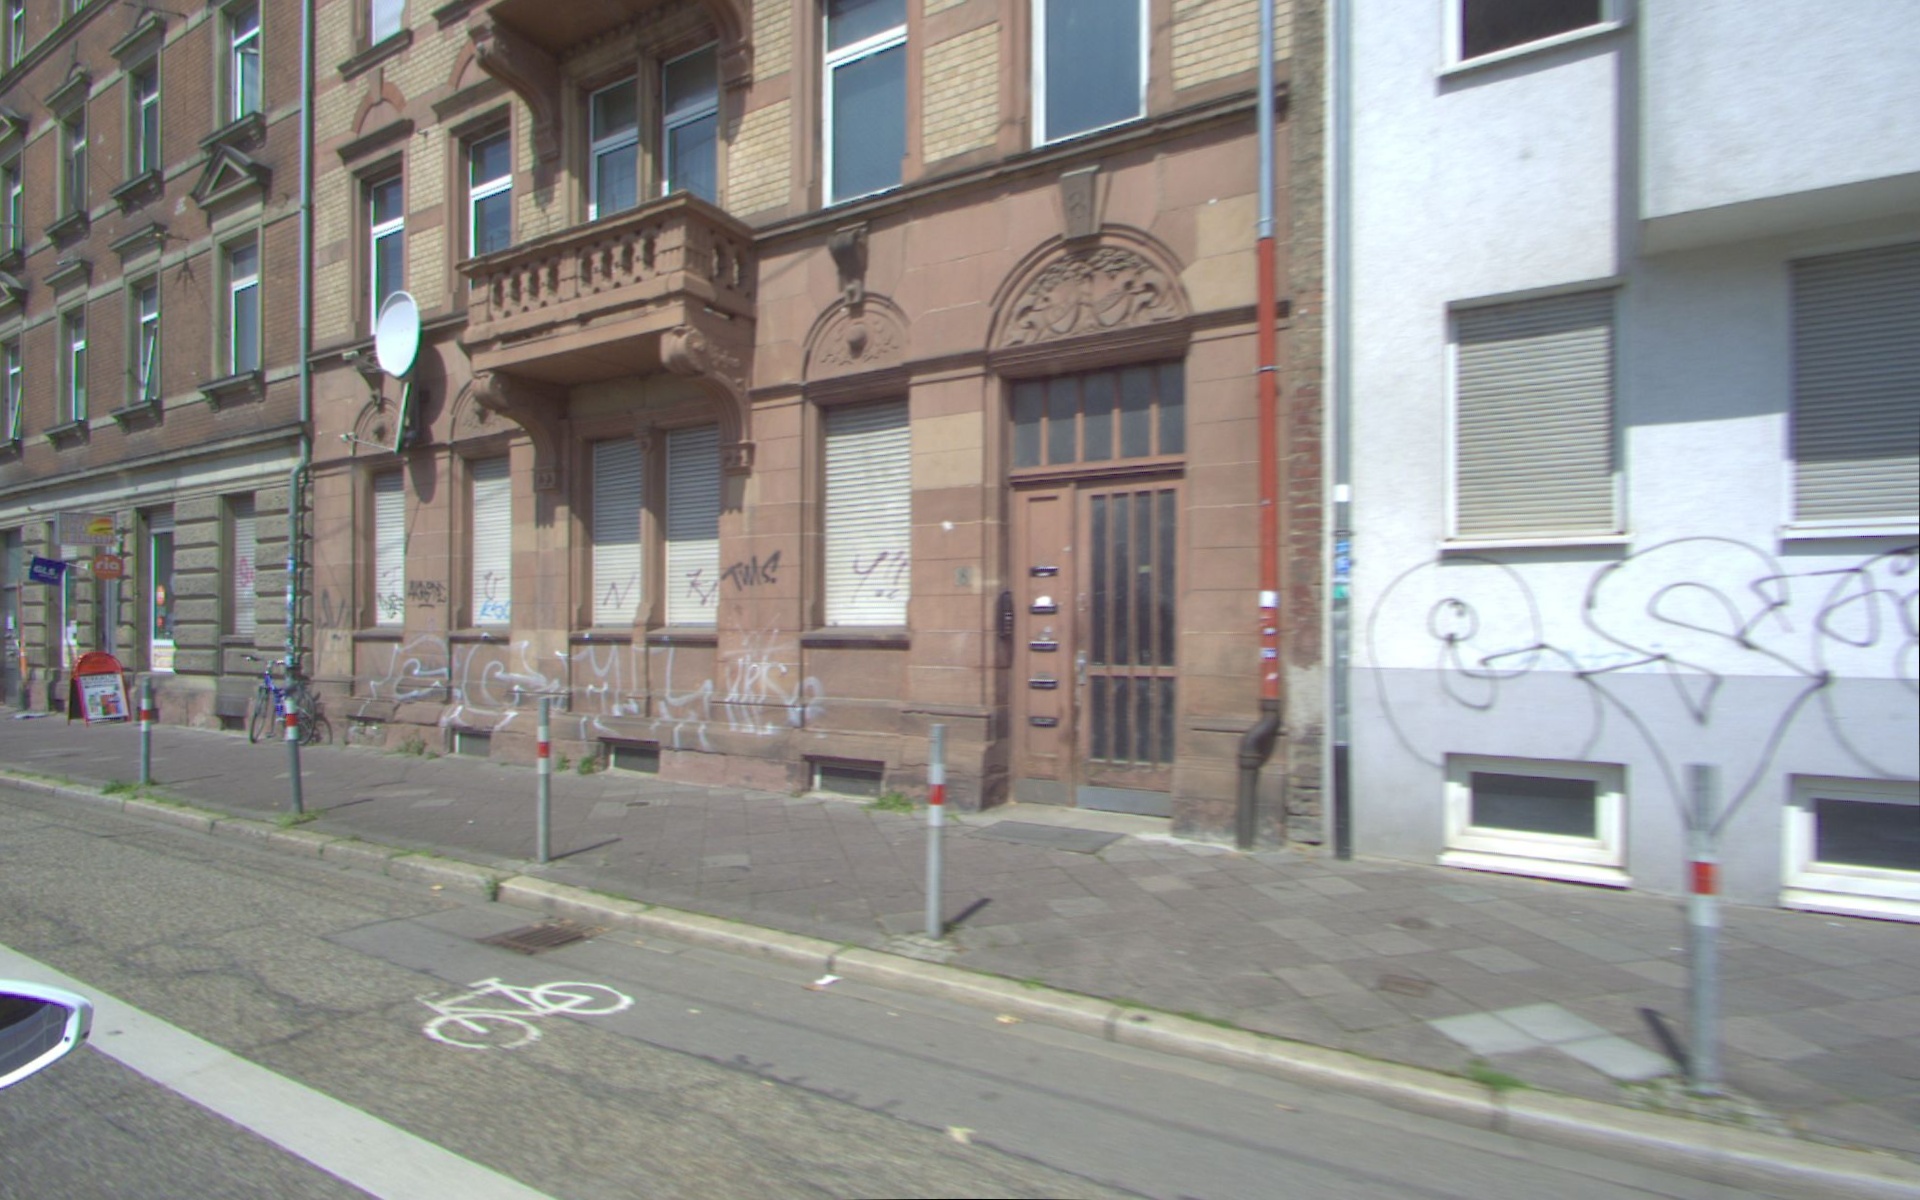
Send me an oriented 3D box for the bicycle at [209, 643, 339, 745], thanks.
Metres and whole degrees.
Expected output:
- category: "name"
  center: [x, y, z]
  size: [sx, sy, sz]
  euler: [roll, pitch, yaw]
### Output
- category: "bicycle"
  center: [-8.847, 1.167, 12.875]
  size: [2.174, 1.193, 0.585]
  euler: [-1, -1, 33]
